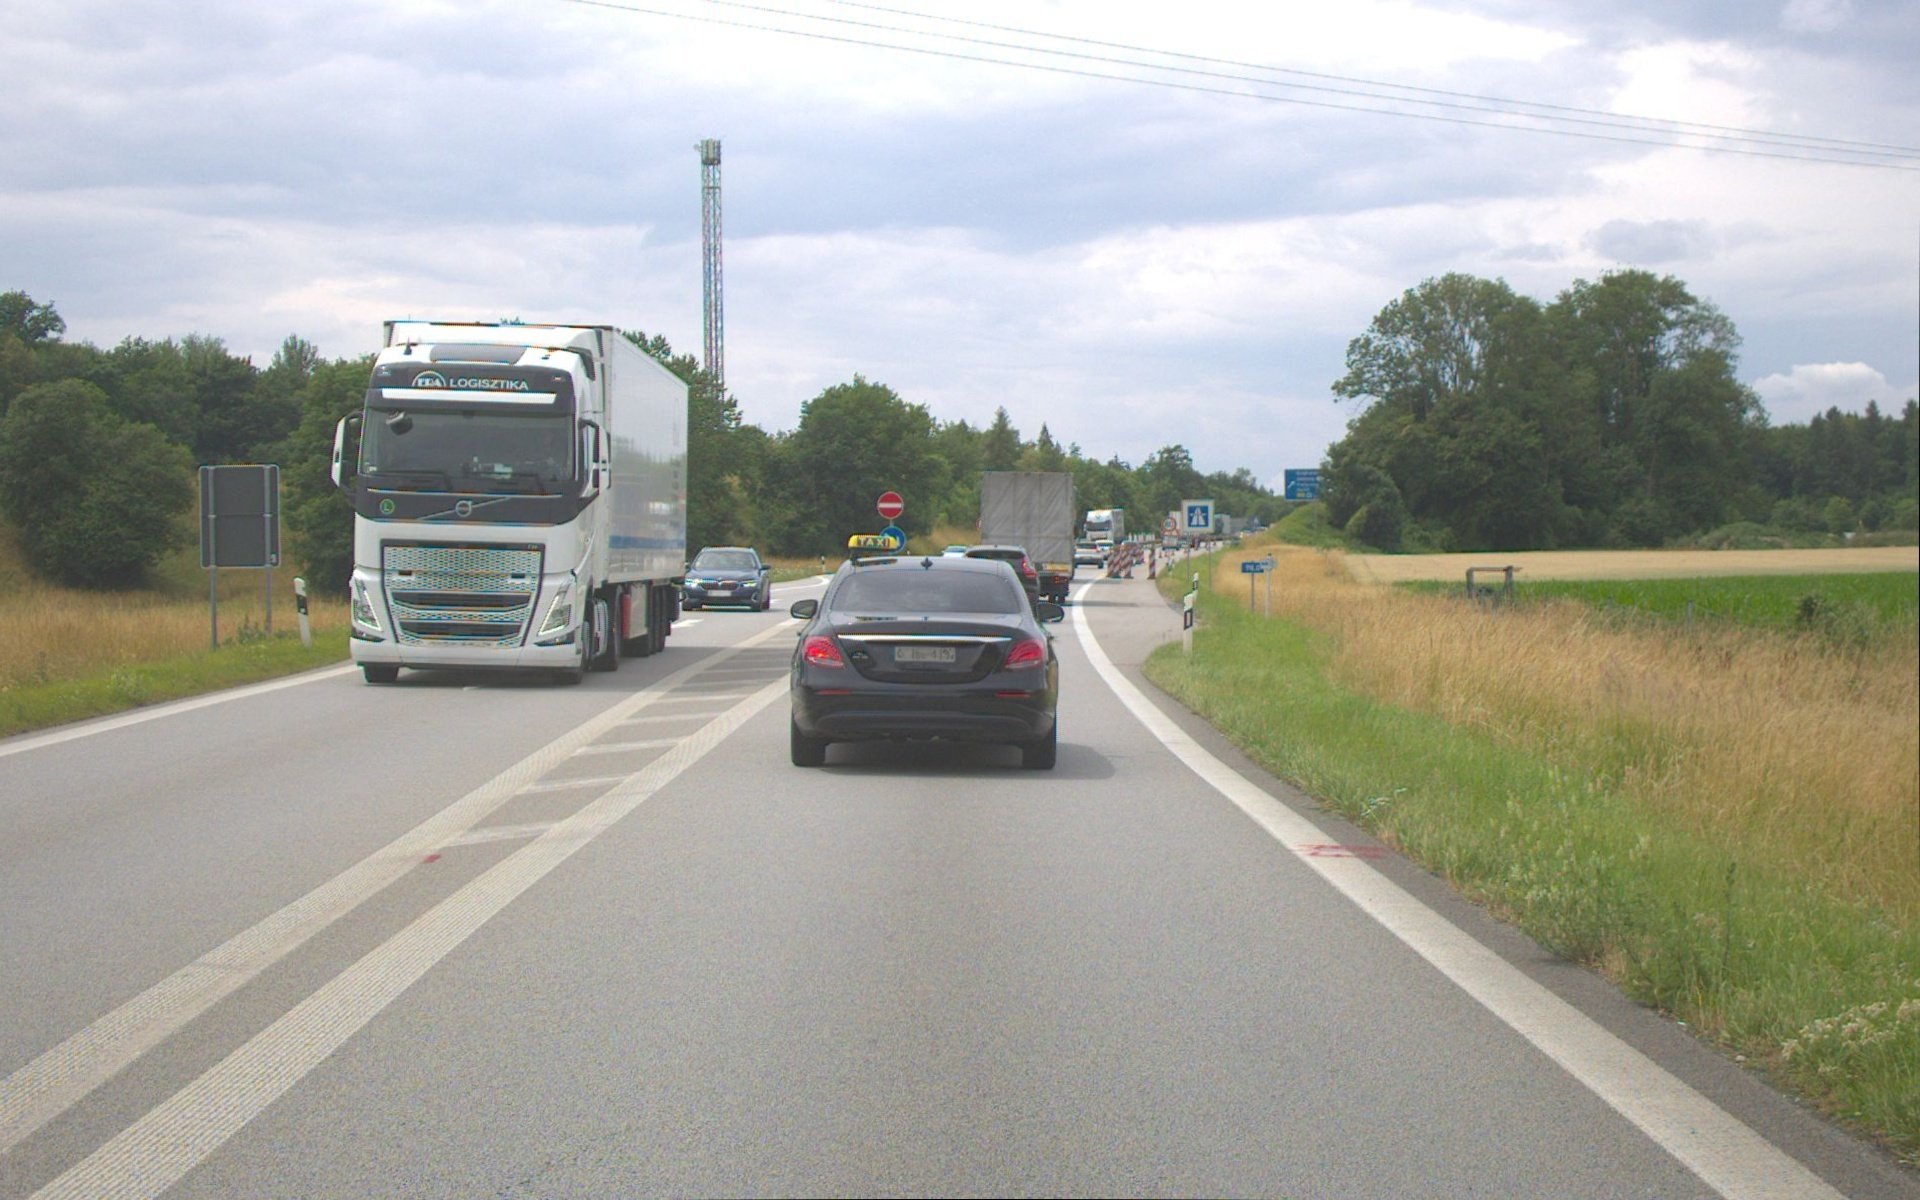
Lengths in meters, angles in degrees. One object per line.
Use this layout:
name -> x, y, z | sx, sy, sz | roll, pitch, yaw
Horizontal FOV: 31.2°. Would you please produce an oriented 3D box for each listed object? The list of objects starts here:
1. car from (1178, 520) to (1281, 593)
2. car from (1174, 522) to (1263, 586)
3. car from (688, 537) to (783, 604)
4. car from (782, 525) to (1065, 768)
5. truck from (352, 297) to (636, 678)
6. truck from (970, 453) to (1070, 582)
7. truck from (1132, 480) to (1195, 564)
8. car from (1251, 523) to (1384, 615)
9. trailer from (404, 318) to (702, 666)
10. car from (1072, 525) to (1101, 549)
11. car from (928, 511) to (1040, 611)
car -> 6.350, -1.031, 81.423 | 1.795, 1.657, 4.001 | 1, 1, -5
car -> 7.050, -1.266, 94.110 | 1.795, 1.657, 4.001 | 1, 1, -5
car -> -5.262, -0.711, 81.154 | 1.857, 1.474, 5.198 | 1, 1, 0
car -> -0.182, 0.281, 24.629 | 1.796, 1.554, 4.000 | 1, 1, 2
truck -> -5.133, -1.248, 38.646 | 2.489, 3.982, 5.205 | 0, 1, 0
truck -> 1.732, -2.303, 97.511 | 2.587, 3.512, 4.812 | 1, 1, 3
truck -> 8.706, -3.345, 147.647 | 1.993, 3.513, 4.593 | 1, 1, -5
car -> 6.790, -0.606, 65.708 | 1.795, 1.657, 4.001 | 1, 1, -5
trailer -> -5.181, -1.412, 46.106 | 2.489, 3.982, 13.077 | 0, 1, 0
car -> 7.730, -3.836, 210.337 | 1.649, 1.391, 3.706 | 1, 1, 0
car -> 0.483, -0.830, 72.915 | 1.993, 2.007, 4.001 | 1, 1, -5
